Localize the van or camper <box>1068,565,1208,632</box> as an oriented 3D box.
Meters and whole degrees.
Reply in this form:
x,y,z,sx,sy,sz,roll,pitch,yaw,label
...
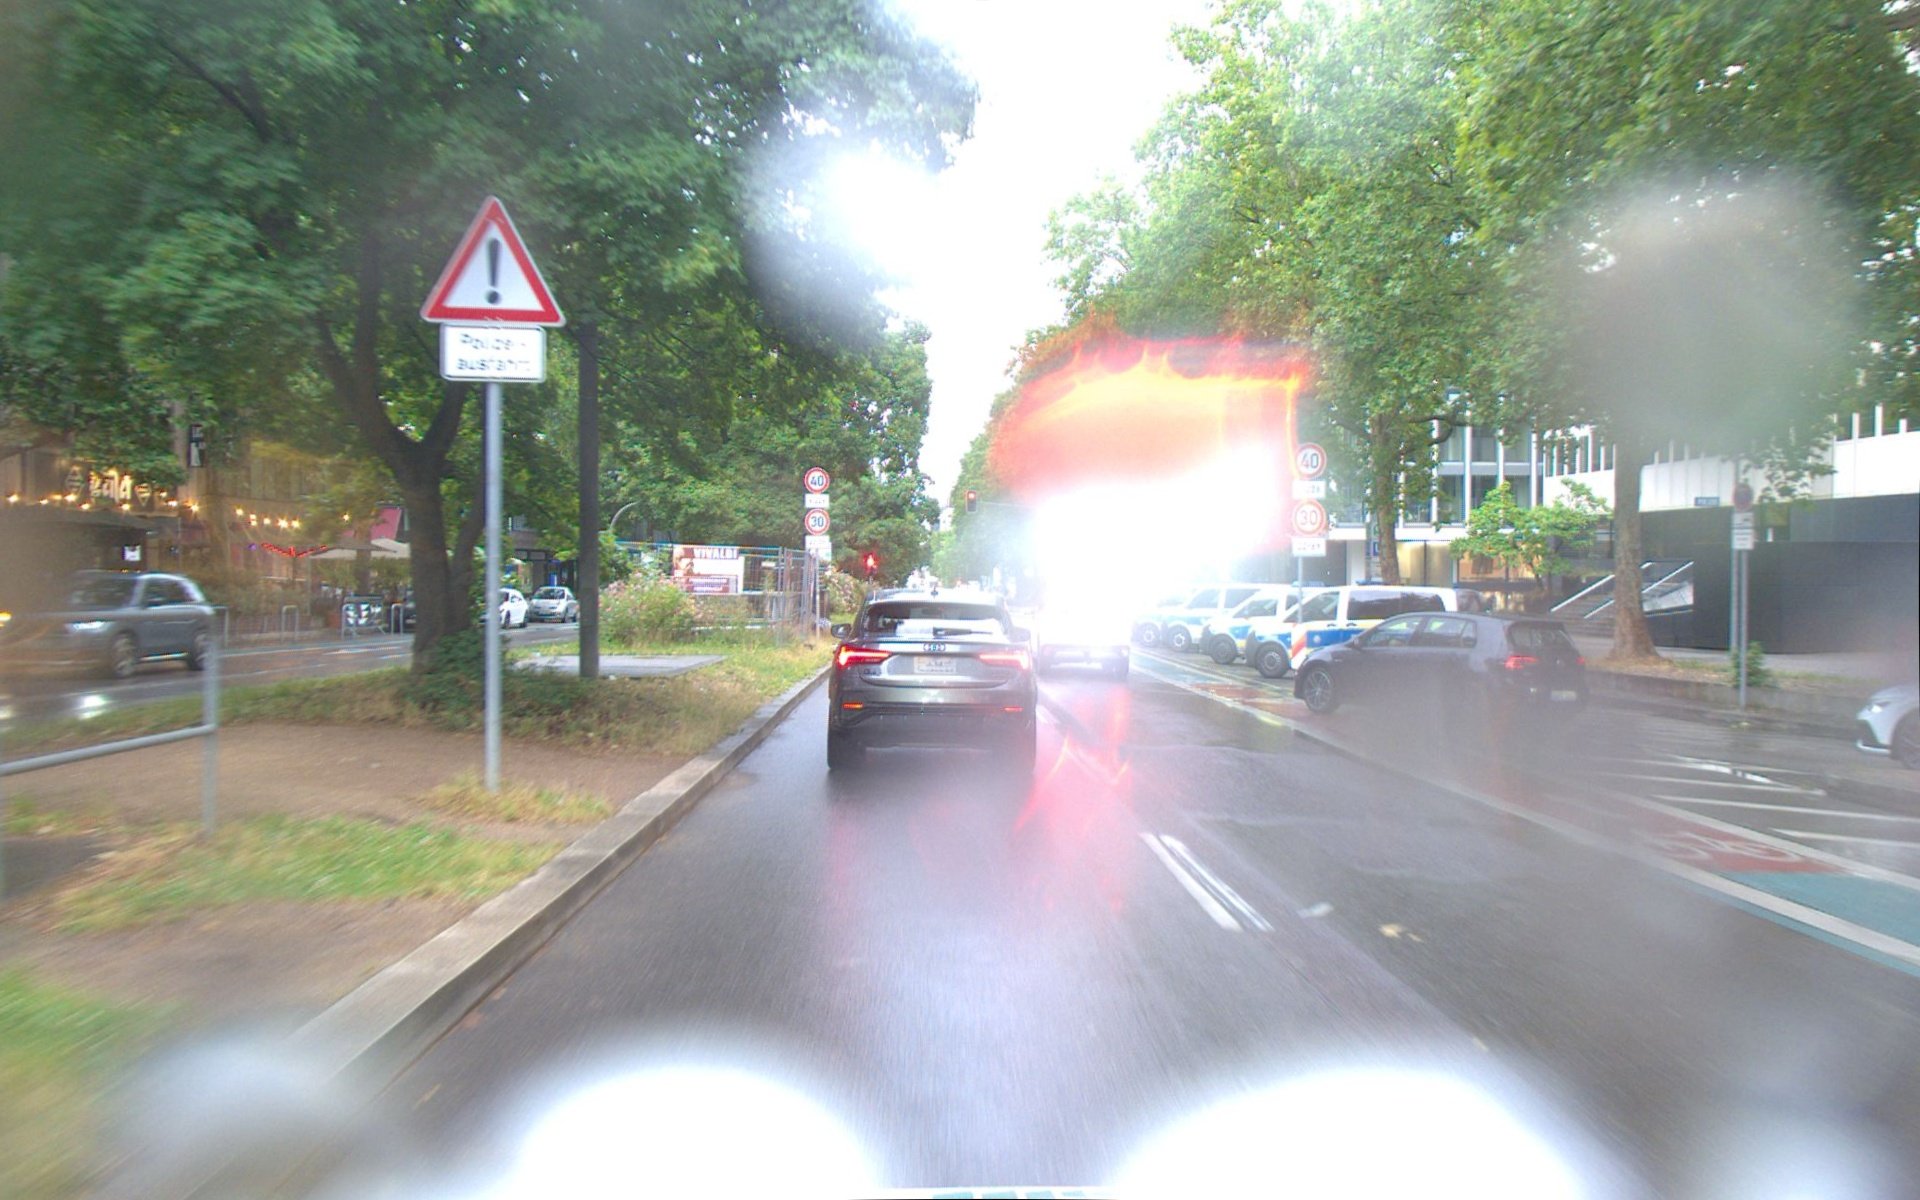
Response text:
x,y,z,sx,sy,sz,roll,pitch,yaw,label
7.580,-0.090,70.596,5.692,2.727,1.994,1,0,34,van or camper

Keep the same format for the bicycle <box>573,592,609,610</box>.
x,y,z,sx,sy,sz,roll,pitch,yaw,label
-19.779,0.054,88.650,1.808,0.996,0.565,0,0,-4,bicycle

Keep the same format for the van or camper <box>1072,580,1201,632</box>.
x,y,z,sx,sy,sz,roll,pitch,yaw,label
7.197,0.240,67.700,4.914,2.049,1.993,0,-1,35,van or camper

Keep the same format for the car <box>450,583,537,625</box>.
x,y,z,sx,sy,sz,roll,pitch,yaw,label
-17.075,0.123,60.747,1.953,1.393,4.539,3,0,-1,car

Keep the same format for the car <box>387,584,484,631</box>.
x,y,z,sx,sy,sz,roll,pitch,yaw,label
-16.994,0.220,53.775,1.788,1.419,4.483,1,0,-1,car

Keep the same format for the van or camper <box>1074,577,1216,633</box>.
x,y,z,sx,sy,sz,roll,pitch,yaw,label
7.170,0.180,64.306,5.101,2.027,1.994,2,0,33,van or camper

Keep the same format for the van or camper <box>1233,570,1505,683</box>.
x,y,z,sx,sy,sz,roll,pitch,yaw,label
8.070,0.485,32.847,4.850,2.026,1.994,2,0,37,van or camper

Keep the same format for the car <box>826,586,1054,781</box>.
x,y,z,sx,sy,sz,roll,pitch,yaw,label
-0.163,0.656,15.638,1.825,1.559,4.526,1,1,0,car

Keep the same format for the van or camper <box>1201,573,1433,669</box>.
x,y,z,sx,sy,sz,roll,pitch,yaw,label
8.435,0.454,39.281,4.986,2.054,1.990,2,0,35,van or camper

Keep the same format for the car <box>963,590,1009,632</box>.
x,y,z,sx,sy,sz,roll,pitch,yaw,label
1.131,0.465,74.078,1.953,1.780,3.999,0,1,-1,car

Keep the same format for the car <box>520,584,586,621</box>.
x,y,z,sx,sy,sz,roll,pitch,yaw,label
-17.477,0.083,71.265,1.954,1.535,4.515,0,1,-3,car

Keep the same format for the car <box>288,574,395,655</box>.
x,y,z,sx,sy,sz,roll,pitch,yaw,label
-13.646,0.276,36.701,1.690,1.654,4.424,1,0,-14,car

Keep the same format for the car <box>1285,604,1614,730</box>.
x,y,z,sx,sy,sz,roll,pitch,yaw,label
6.323,0.800,21.741,1.750,1.437,3.951,0,1,-35,car

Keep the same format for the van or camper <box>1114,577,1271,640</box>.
x,y,z,sx,sy,sz,roll,pitch,yaw,label
7.987,0.257,57.048,5.007,2.060,2.098,1,0,37,van or camper

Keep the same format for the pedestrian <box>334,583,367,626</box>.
x,y,z,sx,sy,sz,roll,pitch,yaw,label
-19.976,0.141,54.211,0.748,1.404,0.932,1,0,-4,pedestrian

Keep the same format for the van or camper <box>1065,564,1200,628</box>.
x,y,z,sx,sy,sz,roll,pitch,yaw,label
7.663,-0.210,73.856,5.700,2.724,2.139,1,0,36,van or camper

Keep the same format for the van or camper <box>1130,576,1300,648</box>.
x,y,z,sx,sy,sz,roll,pitch,yaw,label
7.692,0.334,50.101,4.697,2.046,1.993,1,0,35,van or camper

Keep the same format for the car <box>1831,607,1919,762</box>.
x,y,z,sx,sy,sz,roll,pitch,yaw,label
10.830,0.893,15.399,1.850,1.470,4.444,4,-2,-40,car

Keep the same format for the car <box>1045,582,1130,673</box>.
x,y,z,sx,sy,sz,roll,pitch,yaw,label
2.484,0.506,32.628,1.404,1.714,2.978,0,0,-1,car

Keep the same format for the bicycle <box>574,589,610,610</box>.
x,y,z,sx,sy,sz,roll,pitch,yaw,label
-19.863,-0.039,89.290,1.810,1.117,0.613,0,0,-10,bicycle

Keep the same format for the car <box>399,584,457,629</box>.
x,y,z,sx,sy,sz,roll,pitch,yaw,label
-17.105,0.197,53.215,1.029,1.412,2.693,0,0,-1,car

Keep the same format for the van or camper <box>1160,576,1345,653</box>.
x,y,z,sx,sy,sz,roll,pitch,yaw,label
8.137,0.370,46.249,4.757,2.033,1.861,1,0,36,van or camper

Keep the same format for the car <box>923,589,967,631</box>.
x,y,z,sx,sy,sz,roll,pitch,yaw,label
-0.630,0.360,65.668,1.687,1.605,3.960,0,0,-2,car
